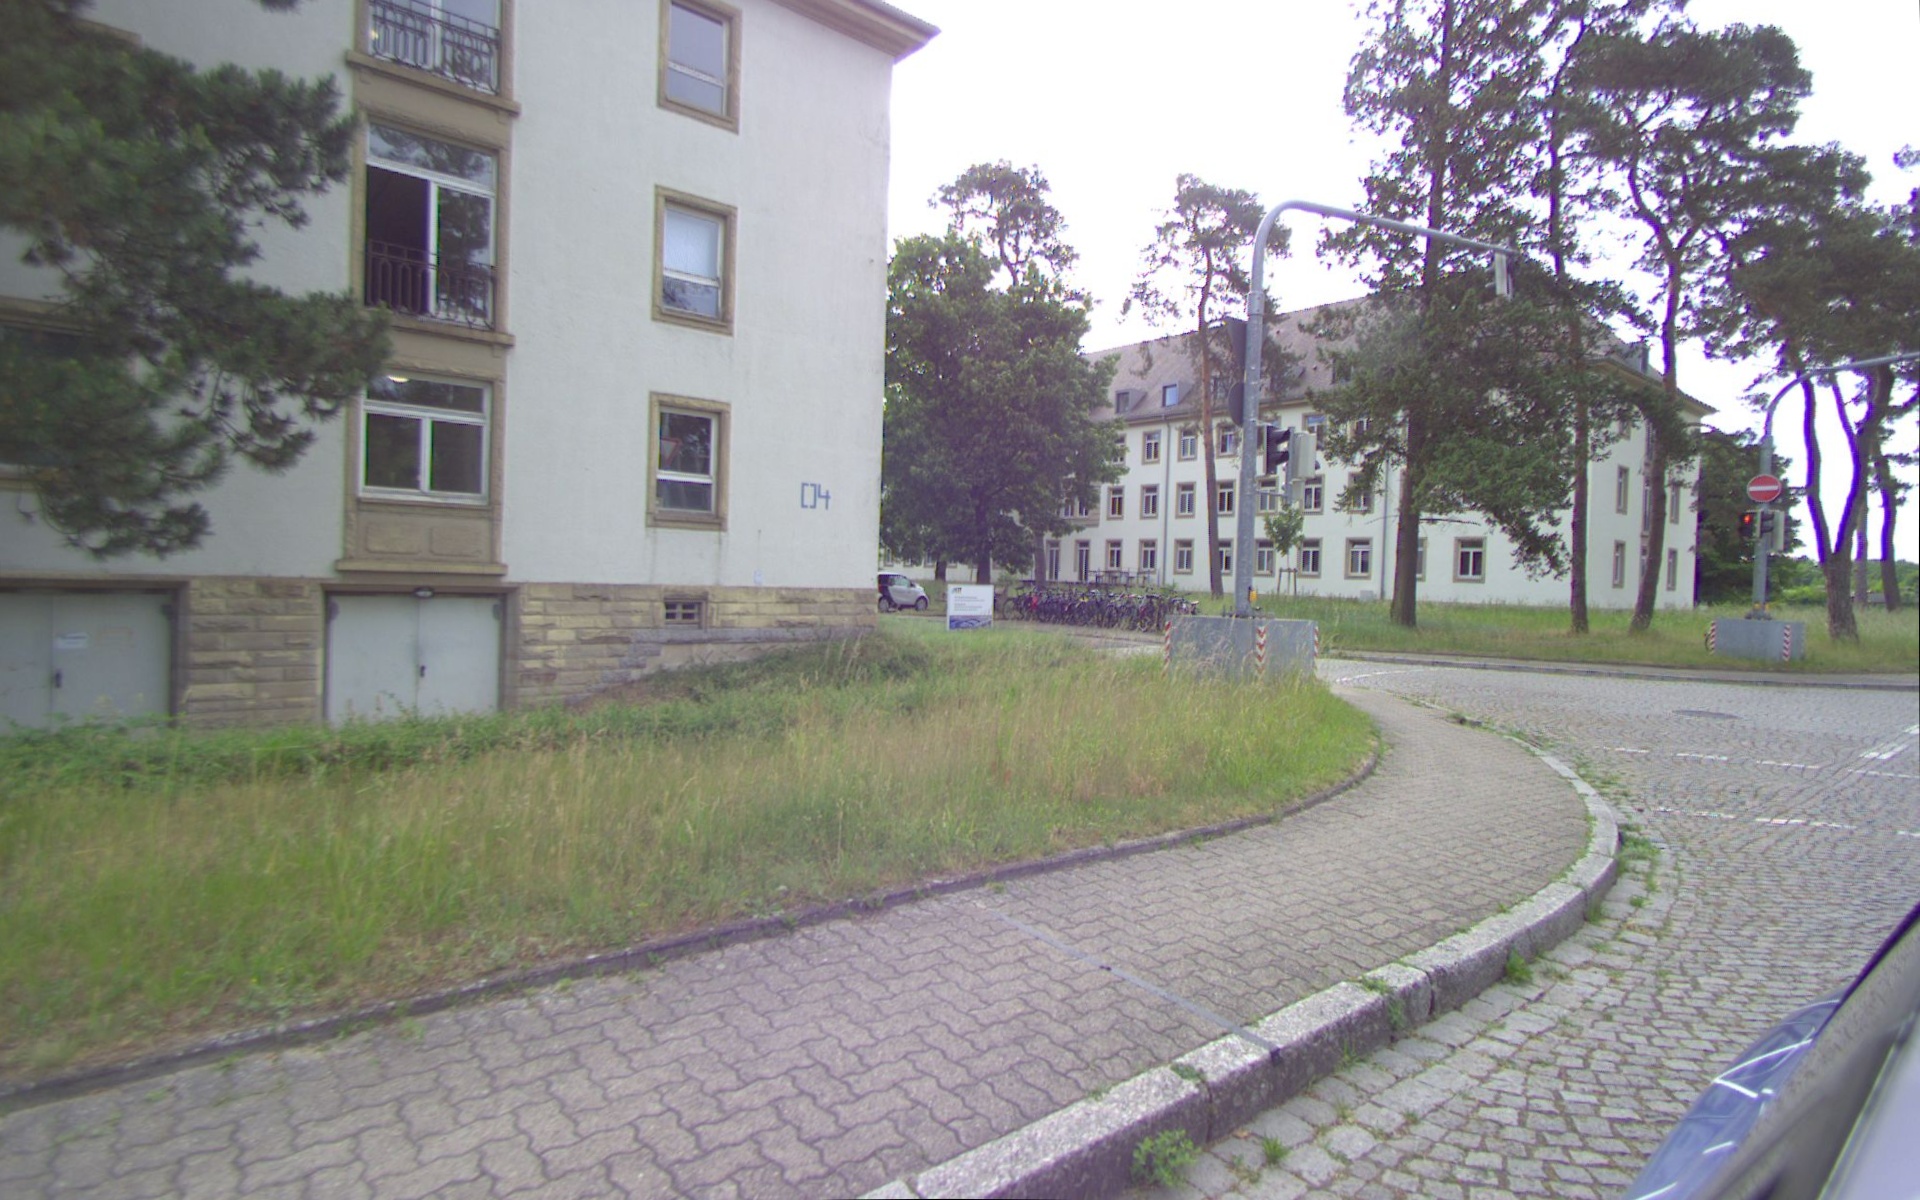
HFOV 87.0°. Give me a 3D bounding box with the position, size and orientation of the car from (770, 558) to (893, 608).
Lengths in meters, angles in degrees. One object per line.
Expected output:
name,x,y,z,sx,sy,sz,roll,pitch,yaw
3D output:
car,-5.329,-0.722,42.682,2.137,1.939,5.253,2,2,36

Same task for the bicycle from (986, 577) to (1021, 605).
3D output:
bicycle,1.837,-0.376,42.724,1.525,1.138,0.401,1,1,-38

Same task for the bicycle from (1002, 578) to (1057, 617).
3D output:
bicycle,2.334,-0.098,33.761,1.954,1.263,0.623,-1,2,-41

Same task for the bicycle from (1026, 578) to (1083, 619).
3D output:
bicycle,3.081,-0.026,32.884,1.954,1.263,0.623,2,0,-41

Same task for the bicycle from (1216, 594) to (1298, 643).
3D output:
bicycle,7.437,0.454,25.429,0.612,1.127,1.989,2,0,-36

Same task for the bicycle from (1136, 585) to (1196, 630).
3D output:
bicycle,5.991,0.224,29.416,1.954,1.263,0.623,2,0,-41

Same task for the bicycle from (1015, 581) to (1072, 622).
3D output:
bicycle,2.750,0.052,33.254,1.954,1.263,0.623,2,0,-41

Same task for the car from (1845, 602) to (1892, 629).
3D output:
car,53.038,0.936,59.087,3.137,1.455,1.487,2,0,-38

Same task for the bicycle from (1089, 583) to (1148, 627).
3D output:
bicycle,4.842,0.163,30.781,1.954,1.263,0.623,2,0,-41

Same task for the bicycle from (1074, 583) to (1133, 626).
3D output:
bicycle,4.444,0.142,31.271,1.954,1.263,0.623,2,0,-41

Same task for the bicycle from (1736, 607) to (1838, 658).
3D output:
bicycle,18.924,0.716,23.191,0.571,0.981,1.679,-1,4,-35

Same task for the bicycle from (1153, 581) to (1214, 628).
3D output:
bicycle,6.396,0.134,28.933,1.954,1.263,0.623,2,0,-41

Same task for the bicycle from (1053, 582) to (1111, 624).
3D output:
bicycle,3.855,0.111,31.914,1.954,1.263,0.623,2,0,-41

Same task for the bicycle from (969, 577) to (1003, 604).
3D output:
bicycle,1.112,-0.419,43.720,1.525,1.138,0.401,1,1,-38

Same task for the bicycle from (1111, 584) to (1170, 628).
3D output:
bicycle,5.390,0.192,30.120,1.954,1.263,0.623,2,0,-41

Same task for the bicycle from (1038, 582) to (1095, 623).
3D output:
bicycle,3.421,0.087,32.504,1.954,1.263,0.623,2,0,-41

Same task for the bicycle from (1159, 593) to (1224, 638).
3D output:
bicycle,6.141,0.401,26.891,0.612,1.096,1.678,2,0,-35

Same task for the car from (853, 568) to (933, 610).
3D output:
car,-2.663,-0.455,40.387,2.806,1.577,1.471,0,3,-40

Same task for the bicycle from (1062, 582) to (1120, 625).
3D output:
bicycle,4.121,0.124,31.685,1.954,1.263,0.623,2,0,-41
